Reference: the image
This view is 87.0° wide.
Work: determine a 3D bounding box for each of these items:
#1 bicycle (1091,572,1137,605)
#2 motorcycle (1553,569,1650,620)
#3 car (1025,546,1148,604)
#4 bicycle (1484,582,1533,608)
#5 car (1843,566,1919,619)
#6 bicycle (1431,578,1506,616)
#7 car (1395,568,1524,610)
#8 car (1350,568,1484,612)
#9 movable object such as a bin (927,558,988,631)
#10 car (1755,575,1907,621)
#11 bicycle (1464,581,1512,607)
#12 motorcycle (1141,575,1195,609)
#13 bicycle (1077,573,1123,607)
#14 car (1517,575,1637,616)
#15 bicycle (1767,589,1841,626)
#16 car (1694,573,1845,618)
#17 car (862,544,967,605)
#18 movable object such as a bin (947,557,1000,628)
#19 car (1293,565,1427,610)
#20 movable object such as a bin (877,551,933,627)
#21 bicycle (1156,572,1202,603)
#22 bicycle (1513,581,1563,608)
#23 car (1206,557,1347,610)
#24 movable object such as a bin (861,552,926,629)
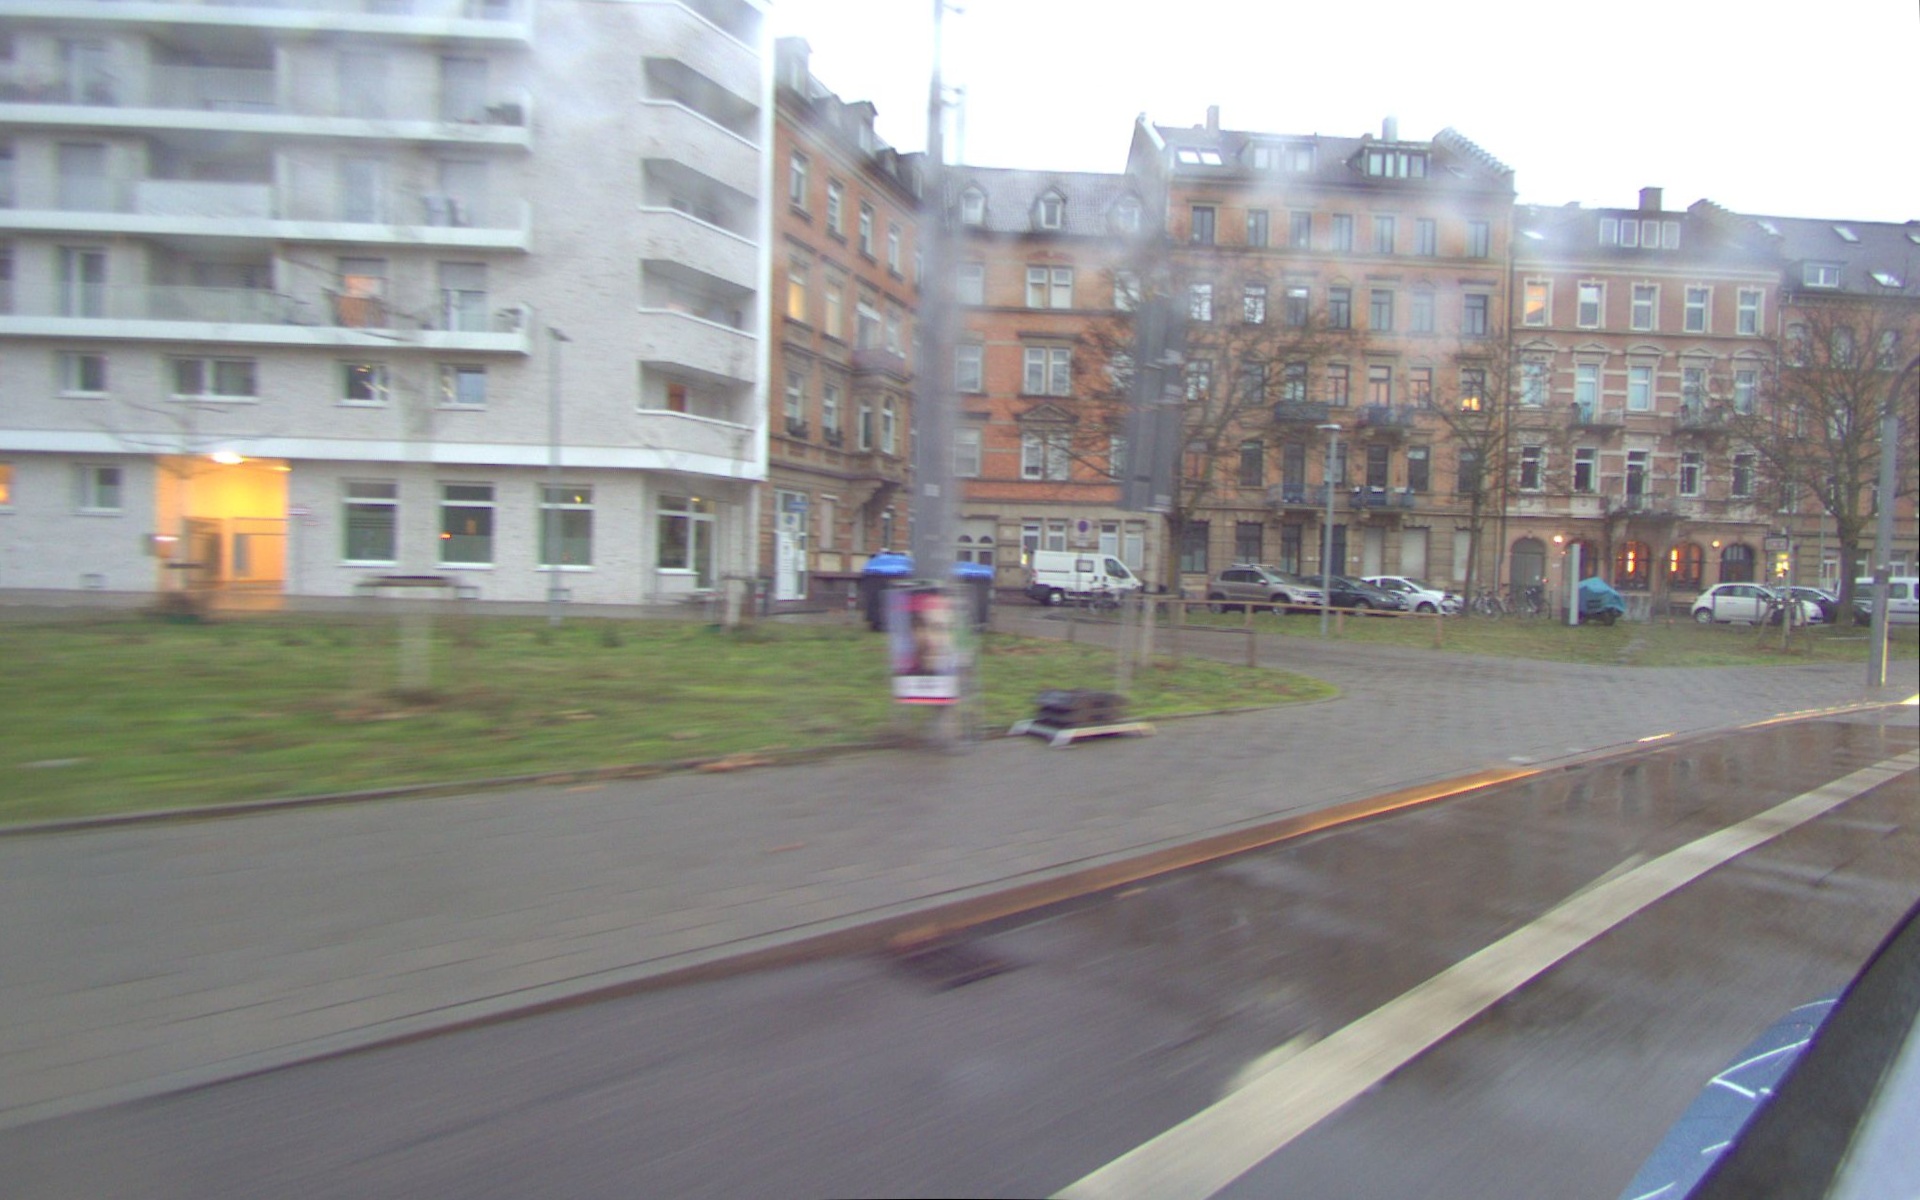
[{"bbox_3d":[4.889,-0.388,32.152,0.437,0.942,1.799,0,4,-27],"label":"bicycle"},{"bbox_3d":[19.185,-0.195,30.346,0.866,1.361,2.365,0,5,-19],"label":"motorcycle"},{"bbox_3d":[5.089,-1.016,40.986,4.568,2.216,2.003,1,1,-5],"label":"car"},{"bbox_3d":[19.082,-0.171,35.221,0.436,0.787,1.800,1,3,-10],"label":"bicycle"},{"bbox_3d":[33.199,-0.233,34.498,1.747,1.790,4.348,0,2,-34],"label":"car"},{"bbox_3d":[15.258,-0.109,30.415,1.881,1.031,0.534,3,3,17],"label":"bicycle"},{"bbox_3d":[17.068,-0.391,34.714,1.492,1.322,3.690,0,2,-34],"label":"car"},{"bbox_3d":[15.021,-0.347,33.416,1.636,1.322,3.690,0,2,-34],"label":"car"},{"bbox_3d":[-0.037,-0.132,21.024,1.202,1.450,1.053,1,1,2],"label":"movable object such as a bin"},{"bbox_3d":[29.969,-0.104,34.914,1.491,1.454,3.691,0,2,-33],"label":"car"},{"bbox_3d":[18.407,-0.223,35.320,0.436,0.804,1.800,1,3,-10],"label":"bicycle"},{"bbox_3d":[6.539,-0.260,31.903,0.503,0.942,1.797,0,4,-33],"label":"motorcycle"},{"bbox_3d":[4.386,-0.331,31.875,0.437,0.942,1.799,0,4,-27],"label":"bicycle"},{"bbox_3d":[21.850,-0.188,35.952,1.491,1.322,3.304,0,2,-33],"label":"car"},{"bbox_3d":[24.307,0.201,29.178,0.437,0.942,1.799,1,3,-5],"label":"bicycle"},{"bbox_3d":[27.354,-0.184,34.309,1.491,1.417,3.691,0,2,-33],"label":"car"},{"bbox_3d":[-1.500,-0.904,35.489,1.921,1.966,4.564,2,2,23],"label":"car"},{"bbox_3d":[0.299,-0.177,22.126,1.119,1.504,1.053,1,1,2],"label":"movable object such as a bin"},{"bbox_3d":[12.842,-0.431,32.651,1.709,1.322,3.690,0,2,-34],"label":"car"},{"bbox_3d":[-1.205,-0.252,22.290,1.119,1.595,1.053,1,1,2],"label":"movable object such as a bin"},{"bbox_3d":[7.293,-0.419,33.805,0.437,0.942,1.799,0,4,-27],"label":"bicycle"},{"bbox_3d":[20.238,-0.195,35.479,0.386,0.827,1.800,1,3,-13],"label":"bicycle"},{"bbox_3d":[10.140,-0.570,32.697,1.709,1.589,4.158,0,2,-34],"label":"car"},{"bbox_3d":[-1.353,-0.202,20.846,1.229,1.529,1.053,1,1,2],"label":"movable object such as a bin"}]
